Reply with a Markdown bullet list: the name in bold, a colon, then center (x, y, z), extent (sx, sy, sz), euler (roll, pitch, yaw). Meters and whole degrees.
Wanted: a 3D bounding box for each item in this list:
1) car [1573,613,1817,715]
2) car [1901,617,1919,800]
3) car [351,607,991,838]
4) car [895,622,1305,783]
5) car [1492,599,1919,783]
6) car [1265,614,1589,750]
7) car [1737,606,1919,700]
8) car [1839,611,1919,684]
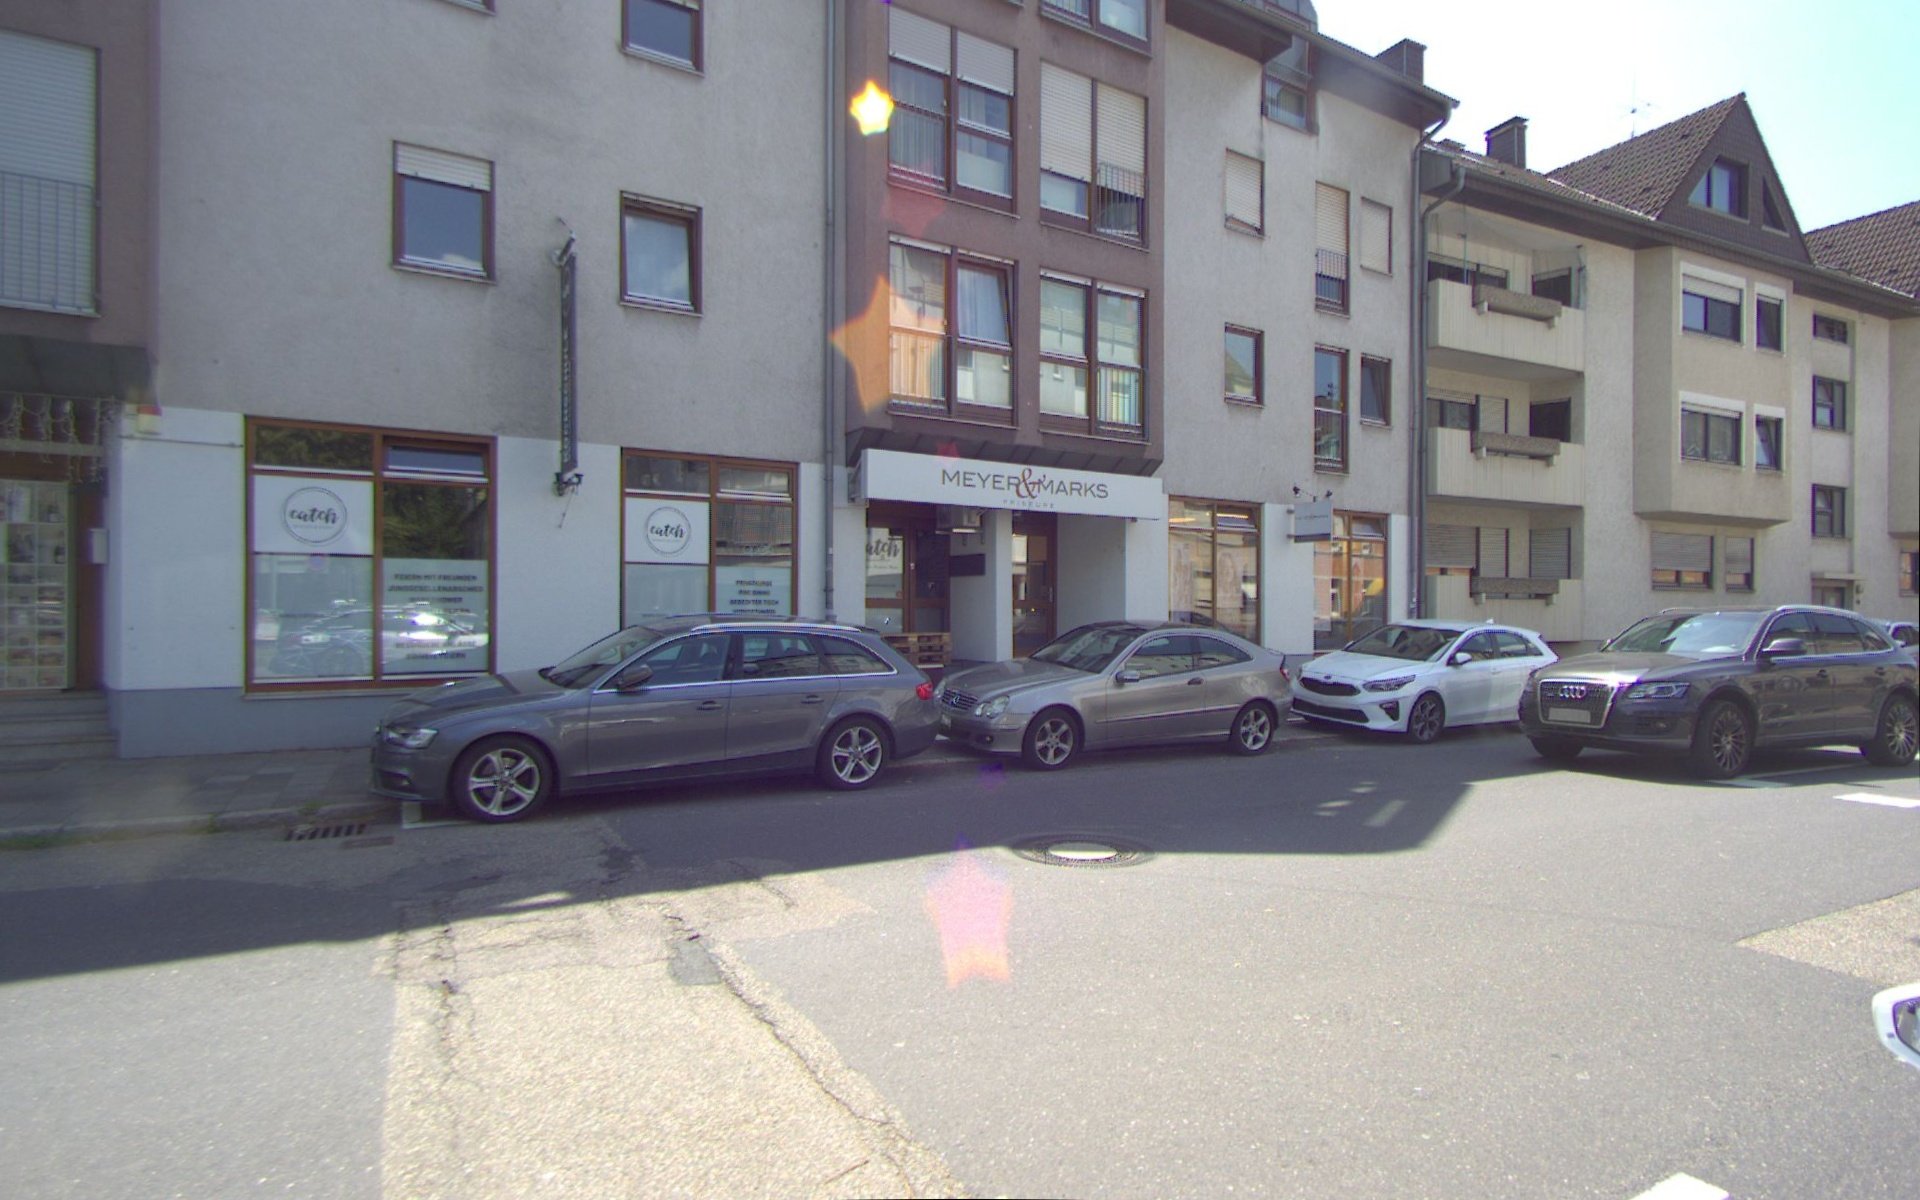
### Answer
- **car**: center (12.953, 1.049, 17.655), extent (4.334, 1.509, 1.831), euler (1, 2, -30)
- **car**: center (9.224, 0.888, 8.366), extent (2.694, 1.478, 1.487), euler (1, -1, -34)
- **car**: center (-2.319, 0.862, 8.683), extent (4.907, 1.467, 1.832), euler (1, 2, -29)
- **car**: center (1.609, 1.001, 11.185), extent (4.275, 1.402, 1.831), euler (1, 2, -29)
- **car**: center (8.009, 0.873, 10.615), extent (4.375, 1.642, 1.809), euler (1, -2, -21)
- **car**: center (6.379, 1.001, 13.622), extent (4.335, 1.509, 1.830), euler (1, 2, -31)
- **car**: center (17.497, 0.991, 19.853), extent (4.334, 1.617, 1.831), euler (1, 2, -30)
- **car**: center (22.406, 1.077, 23.143), extent (4.332, 1.508, 1.832), euler (1, 2, -29)
